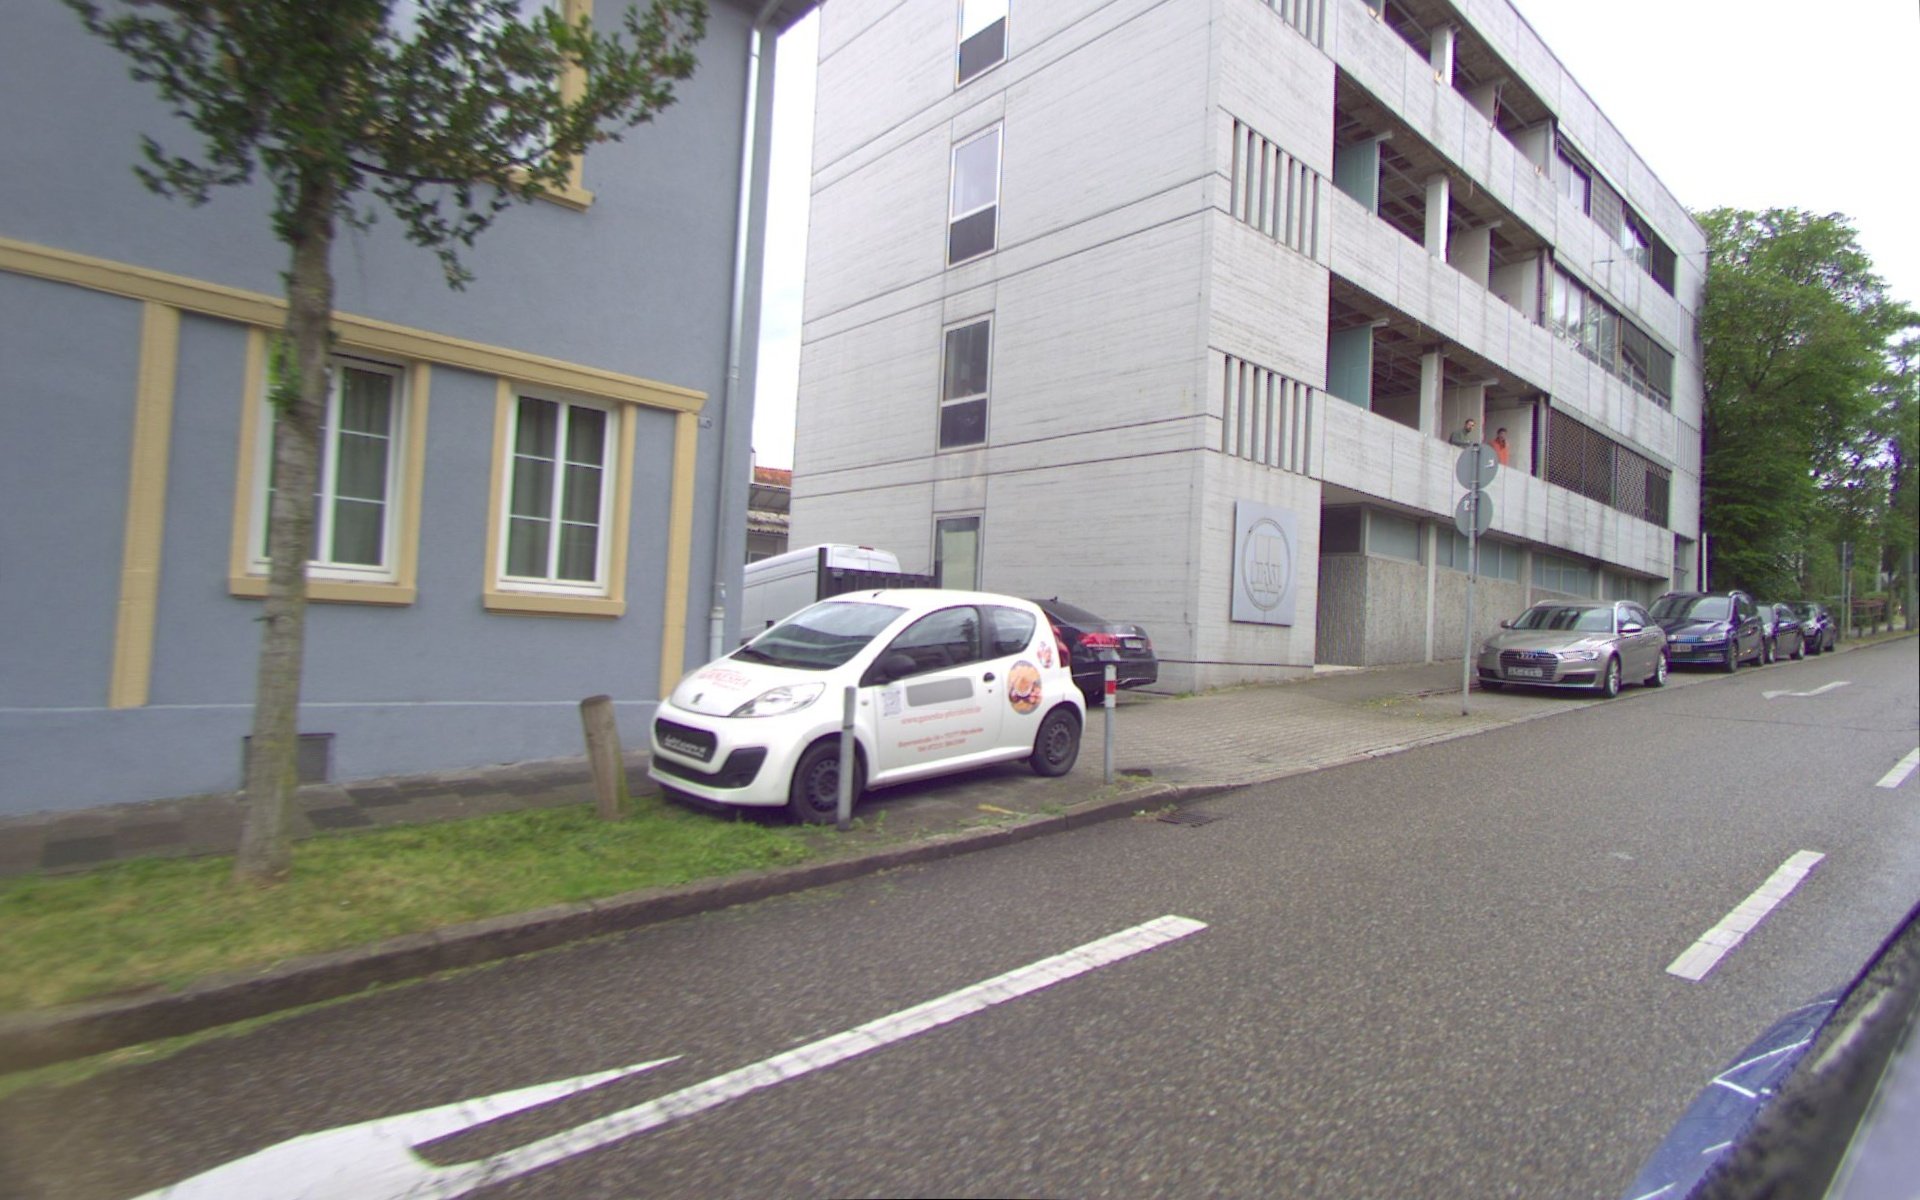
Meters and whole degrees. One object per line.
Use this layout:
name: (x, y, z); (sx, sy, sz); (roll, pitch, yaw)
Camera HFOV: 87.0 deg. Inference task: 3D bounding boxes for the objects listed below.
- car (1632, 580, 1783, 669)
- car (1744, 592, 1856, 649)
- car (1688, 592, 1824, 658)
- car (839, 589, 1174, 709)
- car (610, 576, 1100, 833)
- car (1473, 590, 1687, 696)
car: (15.887, 0.440, 21.427); (4.269, 1.695, 1.747); (0, 1, -42)
car: (23.757, 0.515, 28.573); (4.084, 1.462, 1.841); (0, 2, -42)
car: (19.370, 0.550, 24.580); (4.022, 1.462, 1.711); (0, 1, -38)
car: (0.557, 0.601, 13.940); (4.337, 1.425, 1.787); (-1, 0, 34)
car: (-0.635, 0.582, 7.570); (1.588, 1.429, 3.400); (3, 2, 45)
car: (10.172, 0.583, 16.456); (4.662, 1.478, 1.816); (0, 1, -43)
